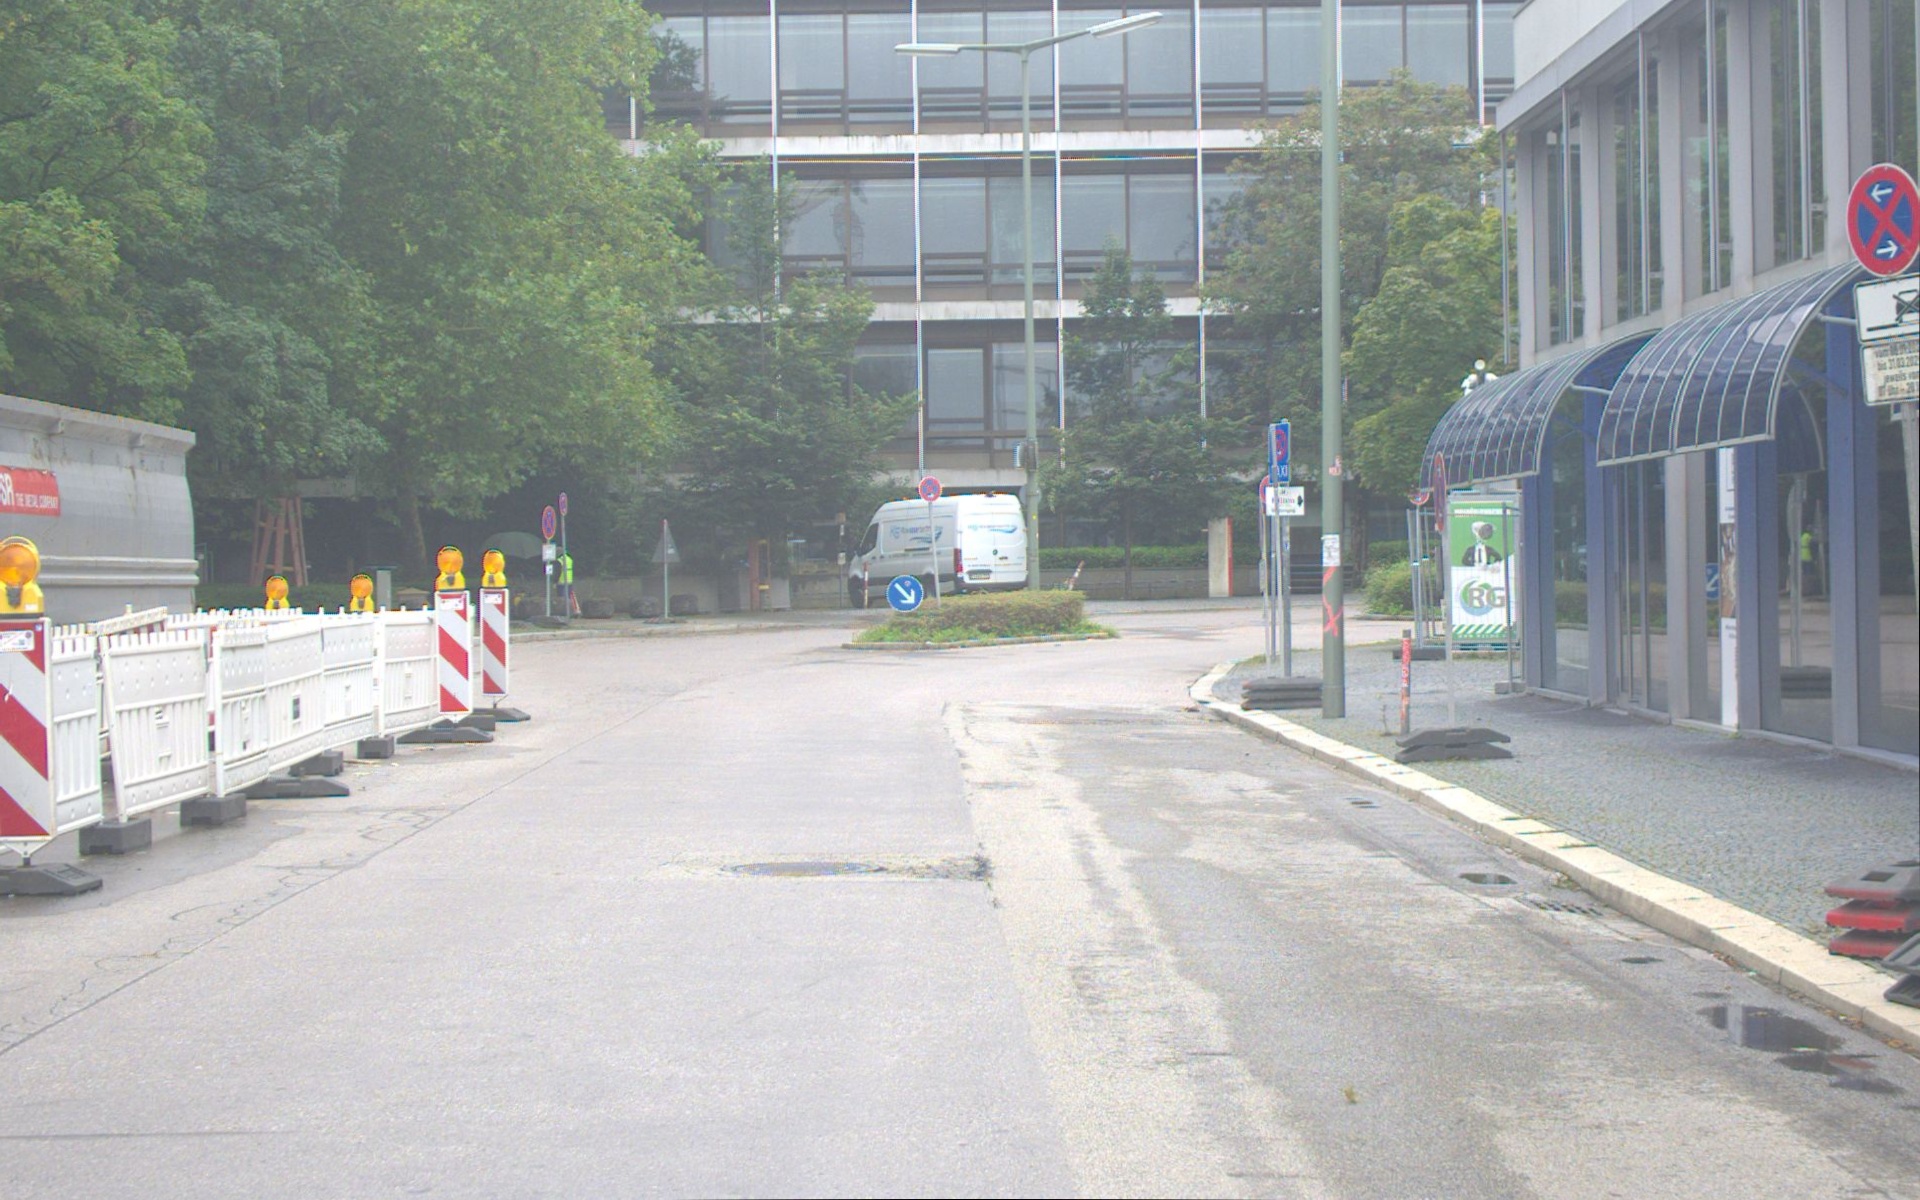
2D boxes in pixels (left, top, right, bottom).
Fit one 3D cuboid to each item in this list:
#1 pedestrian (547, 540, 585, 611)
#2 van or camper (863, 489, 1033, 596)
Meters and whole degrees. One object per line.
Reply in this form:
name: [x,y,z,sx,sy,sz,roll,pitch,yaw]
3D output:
pedestrian: [-9.314,-0.577,81.271,0.741,1.671,0.682,-1,1,-20]
van or camper: [-0.328,-1.378,82.564,2.085,2.483,5.068,-1,1,-26]
